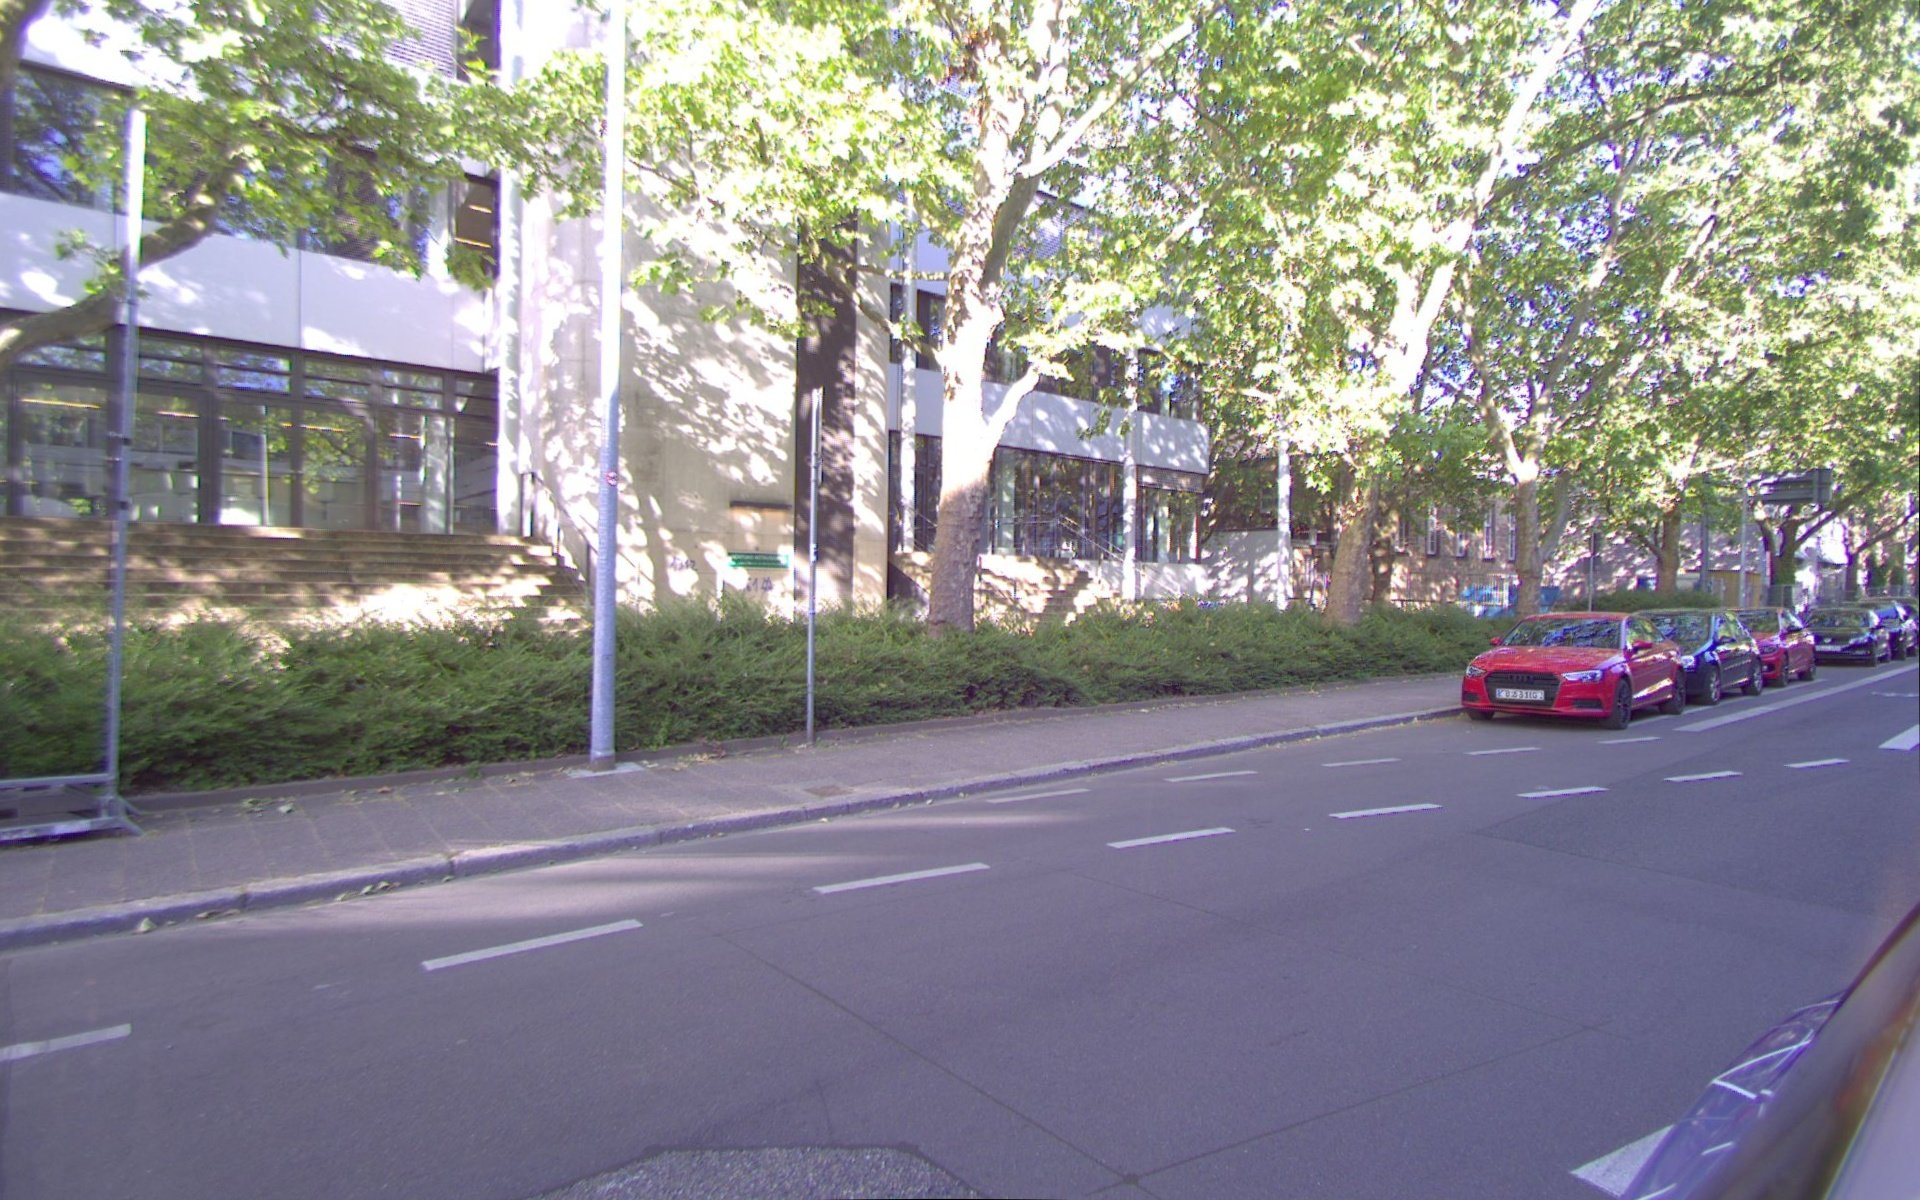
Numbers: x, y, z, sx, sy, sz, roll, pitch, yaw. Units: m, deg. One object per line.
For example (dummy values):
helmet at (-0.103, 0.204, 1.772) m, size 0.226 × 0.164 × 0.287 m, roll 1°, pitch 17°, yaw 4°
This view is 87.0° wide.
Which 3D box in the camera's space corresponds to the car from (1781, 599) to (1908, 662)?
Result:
car at (22.804, 0.719, 26.062) m, size 3.527 × 1.474 × 1.997 m, roll -1°, pitch 0°, yaw -41°

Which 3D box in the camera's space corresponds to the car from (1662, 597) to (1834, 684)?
car at (15.655, 0.716, 20.057) m, size 3.762 × 1.517 × 1.997 m, roll -1°, pitch 0°, yaw -41°

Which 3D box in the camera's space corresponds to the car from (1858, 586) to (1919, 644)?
car at (31.268, 0.447, 33.312) m, size 4.493 × 1.809 × 1.997 m, roll -1°, pitch 0°, yaw -41°

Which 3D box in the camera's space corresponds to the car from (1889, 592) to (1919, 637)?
car at (36.038, 0.525, 37.459) m, size 4.070 × 1.585 × 1.997 m, roll -1°, pitch 0°, yaw -41°

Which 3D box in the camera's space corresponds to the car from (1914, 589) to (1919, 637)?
car at (39.603, 0.482, 40.265) m, size 3.930 × 1.872 × 1.997 m, roll -1°, pitch 0°, yaw -41°

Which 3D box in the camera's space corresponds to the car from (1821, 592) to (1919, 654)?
car at (26.533, 0.607, 29.186) m, size 4.070 × 1.621 × 1.997 m, roll -1°, pitch 0°, yaw -41°

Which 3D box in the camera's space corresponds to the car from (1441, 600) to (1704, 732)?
car at (8.261, 0.751, 13.525) m, size 3.930 × 1.443 × 1.906 m, roll -1°, pitch 1°, yaw -41°

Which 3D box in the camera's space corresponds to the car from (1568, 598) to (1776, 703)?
car at (11.712, 0.728, 16.590) m, size 3.581 × 1.478 × 1.997 m, roll -1°, pitch 1°, yaw -41°
